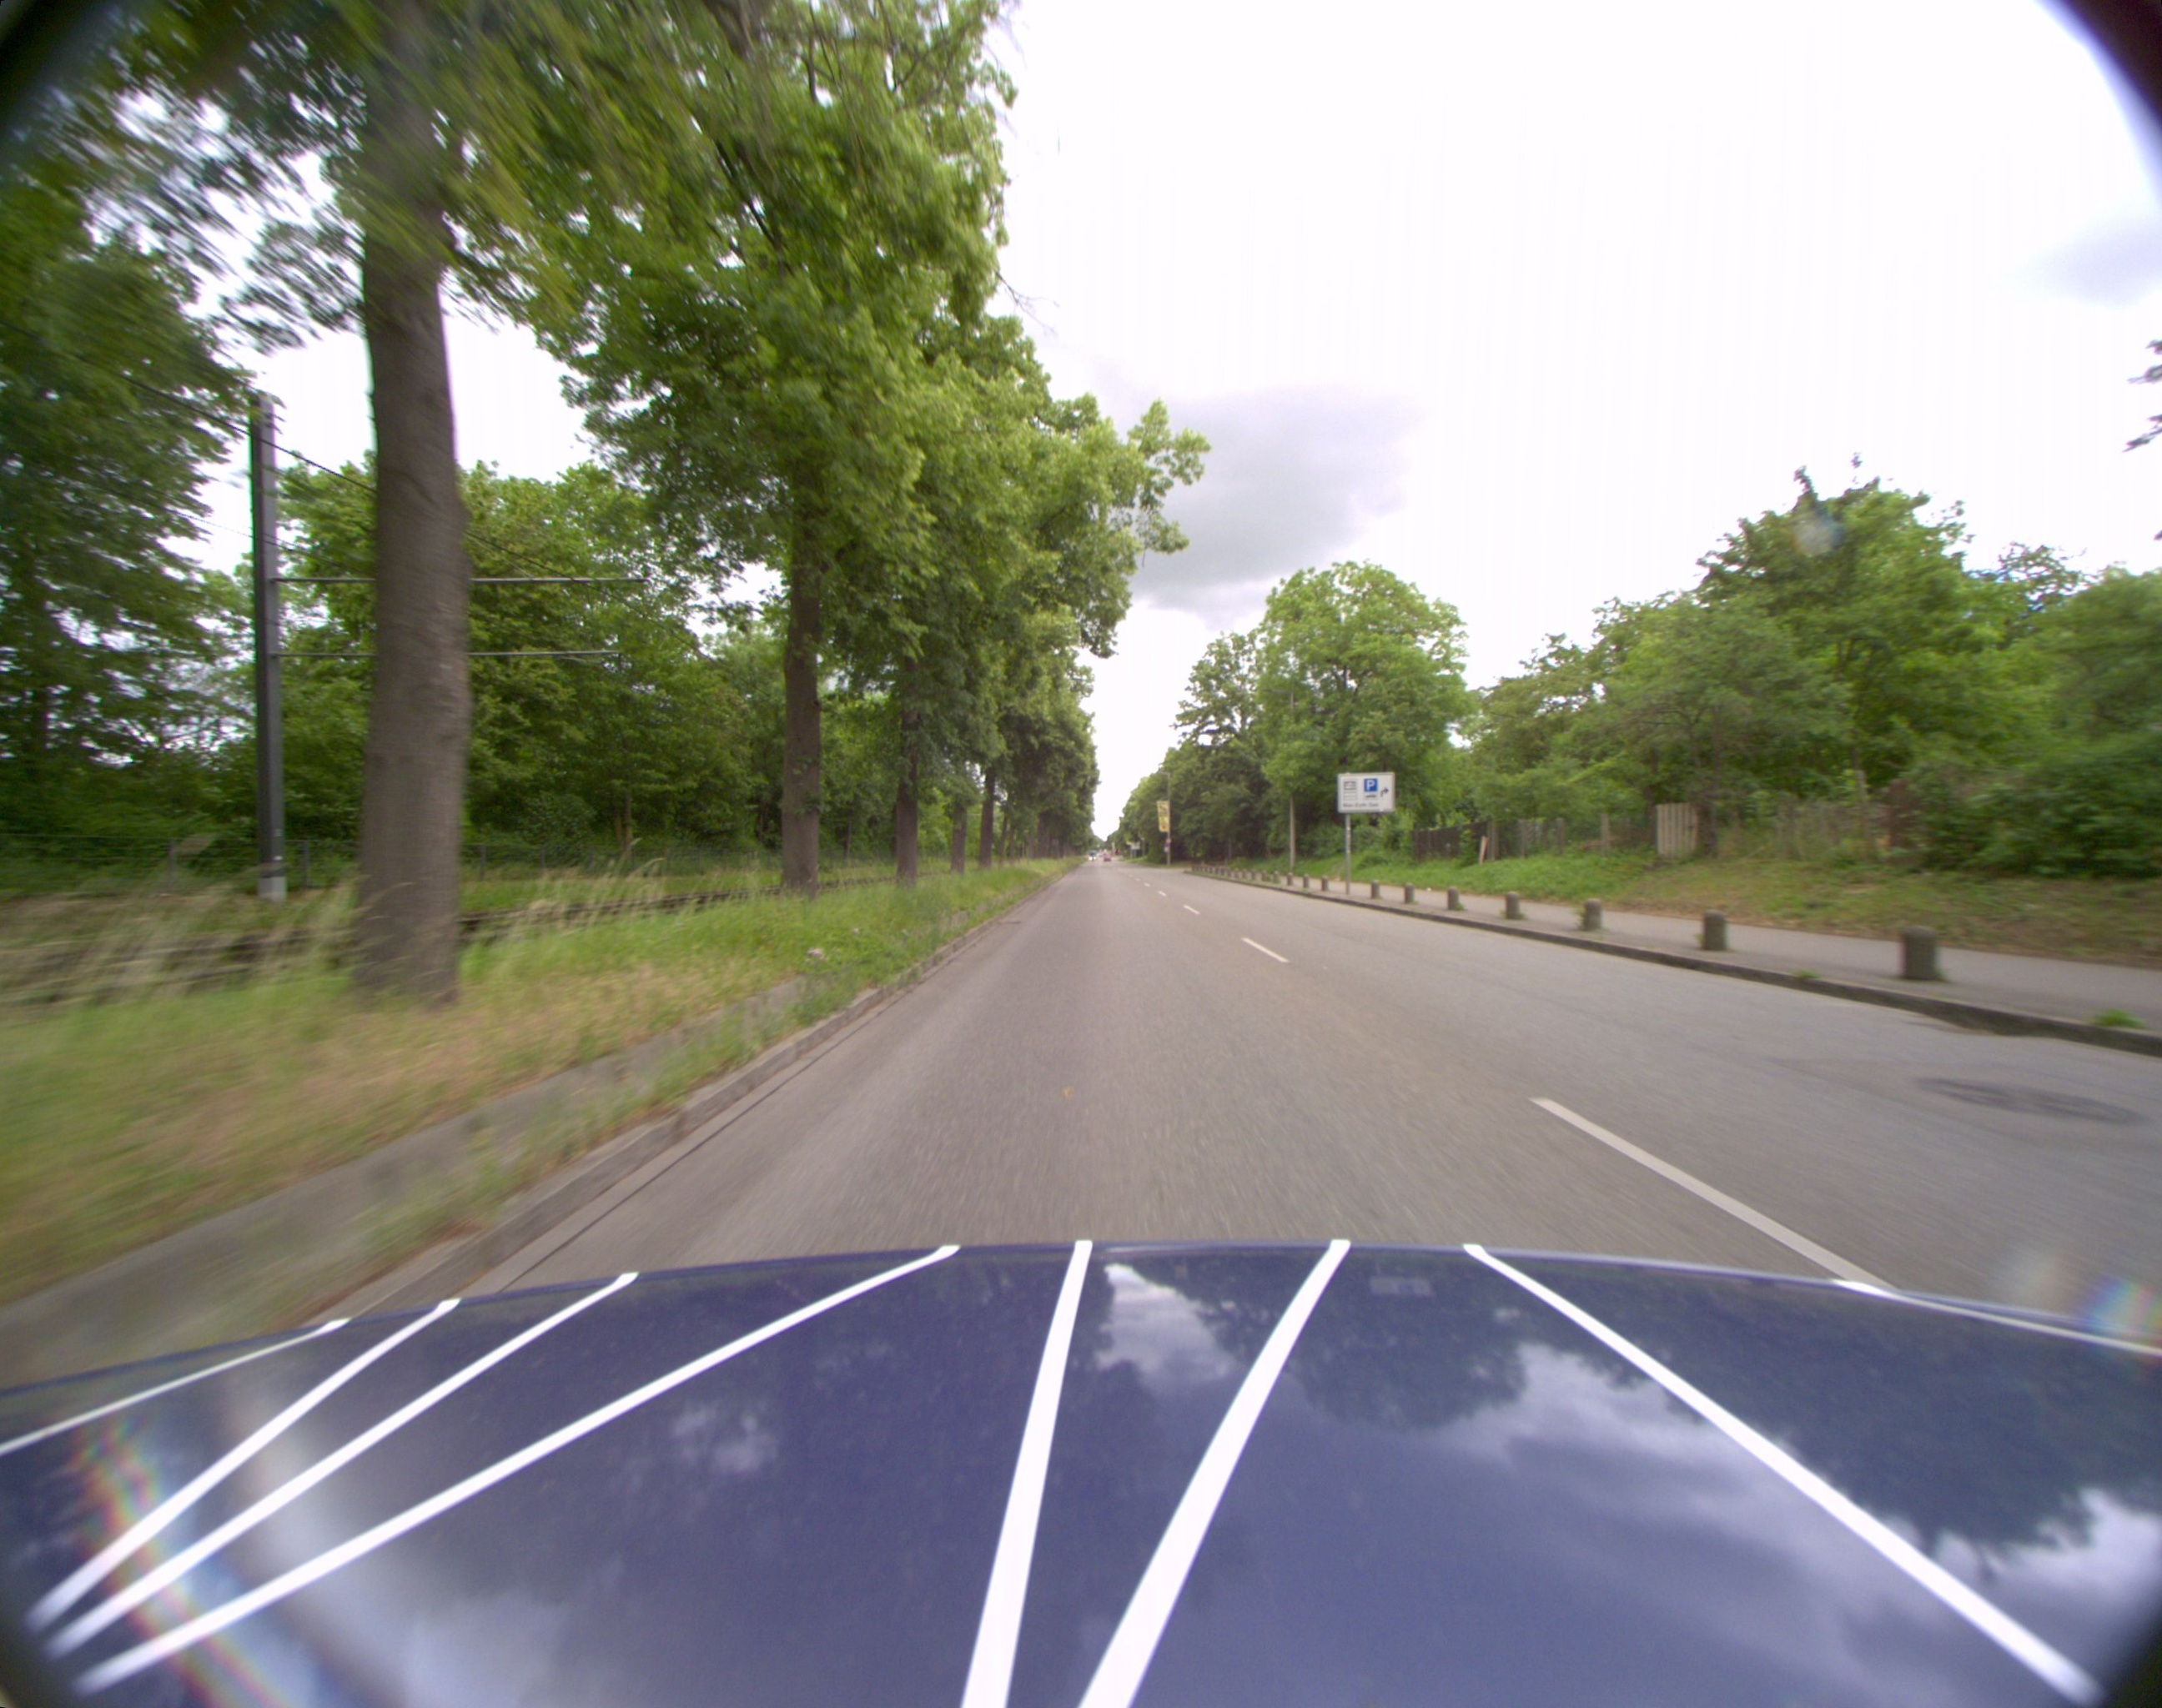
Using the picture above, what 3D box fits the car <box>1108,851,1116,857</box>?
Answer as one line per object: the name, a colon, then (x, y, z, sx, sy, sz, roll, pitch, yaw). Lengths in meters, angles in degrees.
car: (7.624, -0.011, 185.047, 1.721, 1.420, 4.196, 1, 0, 0)
